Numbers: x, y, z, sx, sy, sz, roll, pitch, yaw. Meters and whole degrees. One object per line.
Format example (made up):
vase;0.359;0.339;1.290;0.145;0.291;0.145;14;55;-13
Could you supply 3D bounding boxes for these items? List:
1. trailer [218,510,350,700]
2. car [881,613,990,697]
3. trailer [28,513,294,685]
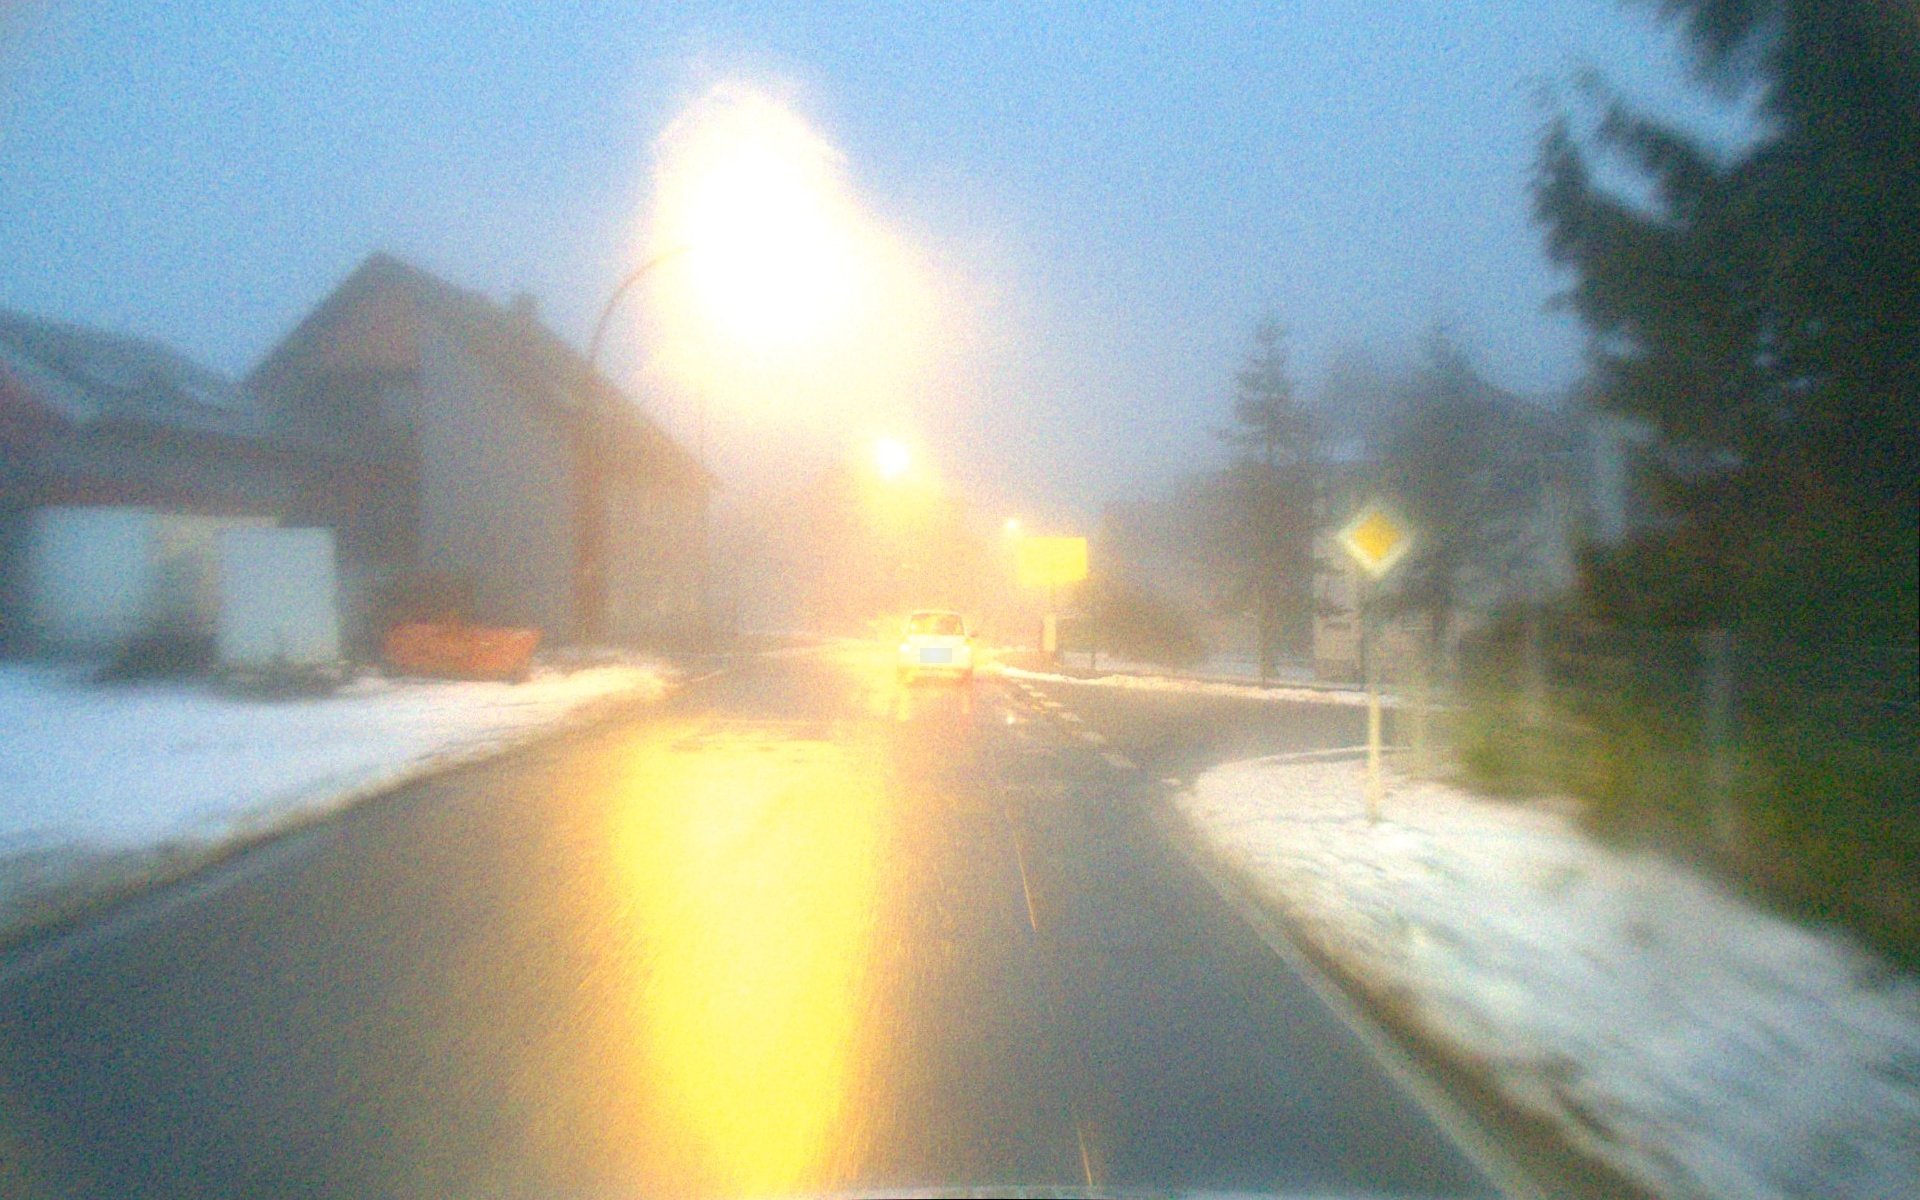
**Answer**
trailer;-10.239;0.052;25.235;1.665;2.650;3.424;-2;1;-20
car;-0.455;1.107;34.806;1.952;1.534;4.002;-2;1;4
trailer;-12.794;-0.045;26.800;1.951;2.532;4.013;-2;1;7
